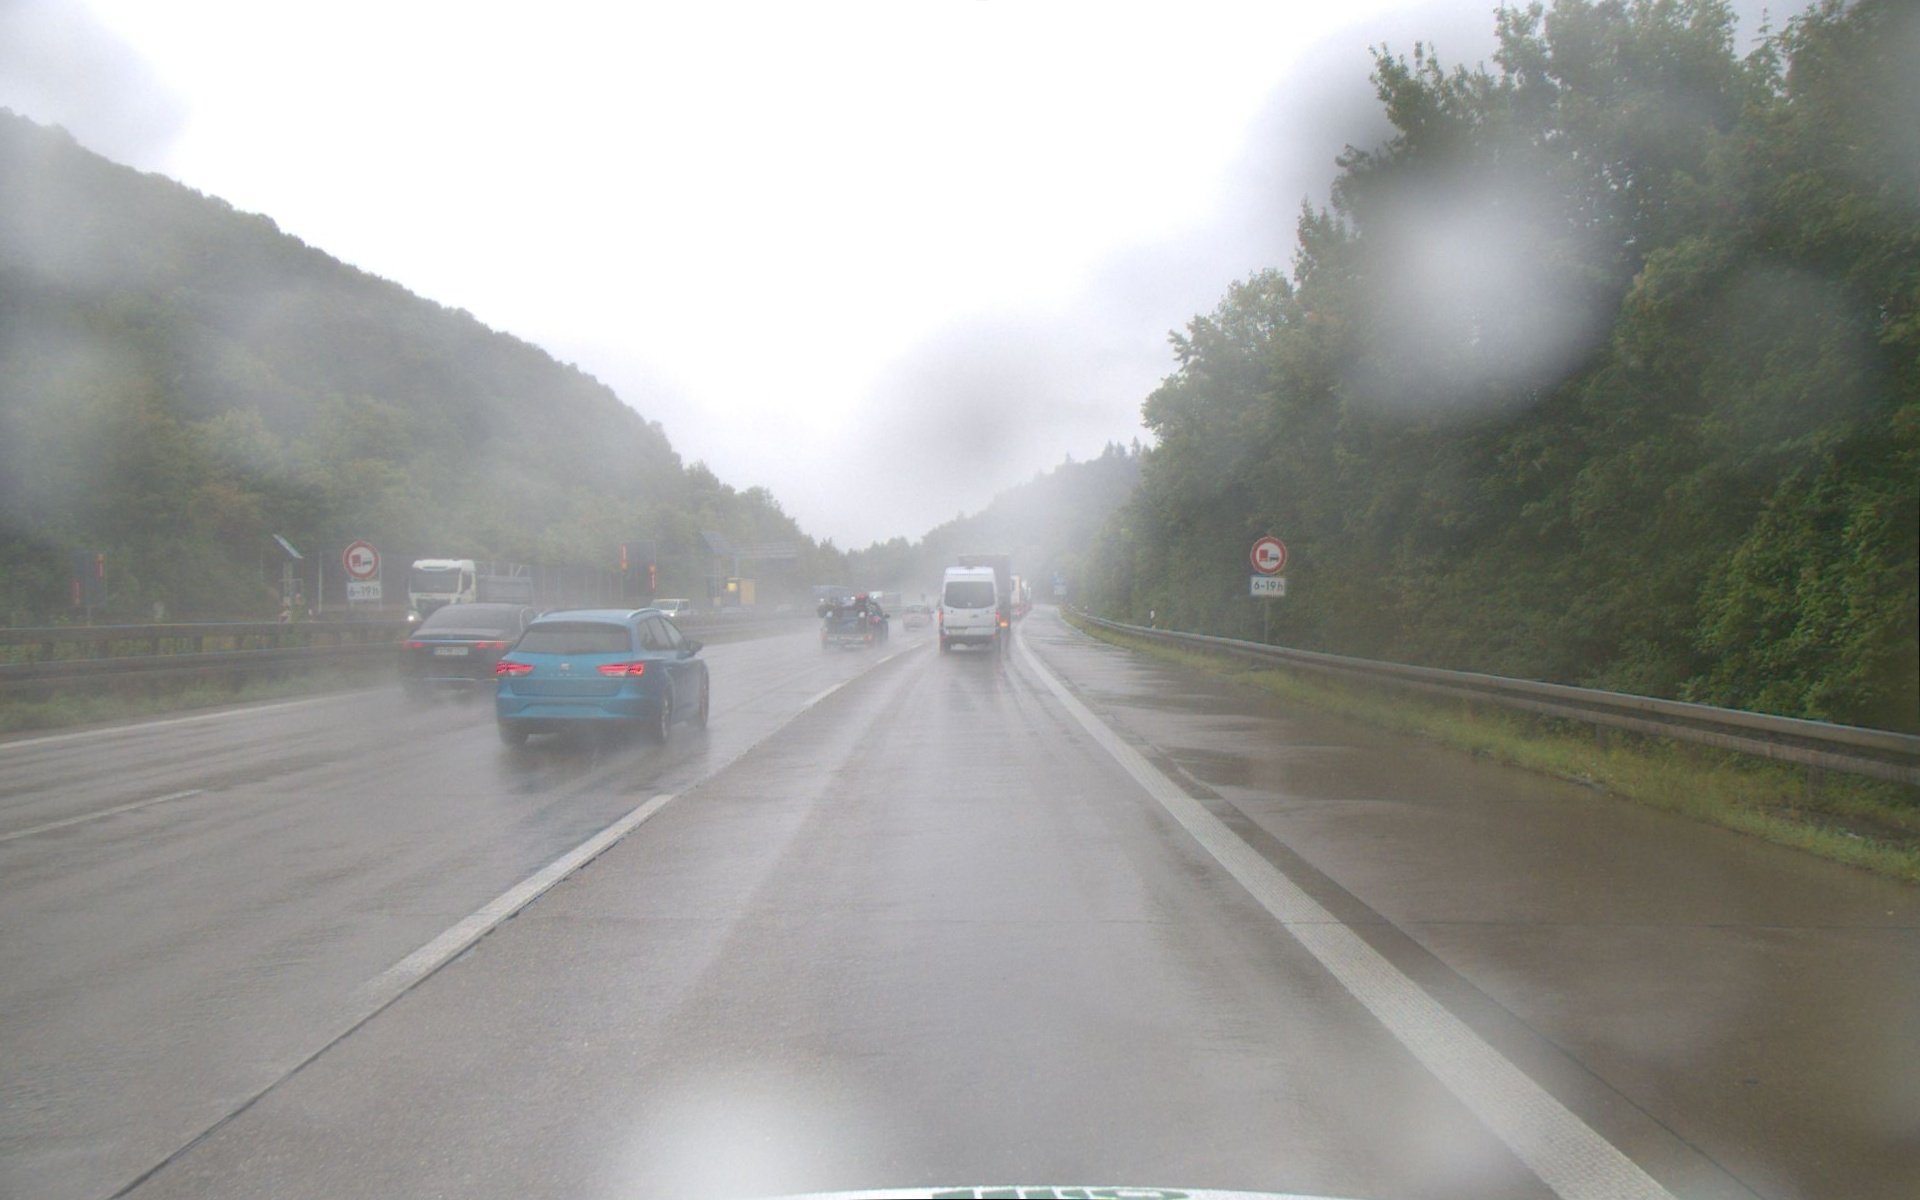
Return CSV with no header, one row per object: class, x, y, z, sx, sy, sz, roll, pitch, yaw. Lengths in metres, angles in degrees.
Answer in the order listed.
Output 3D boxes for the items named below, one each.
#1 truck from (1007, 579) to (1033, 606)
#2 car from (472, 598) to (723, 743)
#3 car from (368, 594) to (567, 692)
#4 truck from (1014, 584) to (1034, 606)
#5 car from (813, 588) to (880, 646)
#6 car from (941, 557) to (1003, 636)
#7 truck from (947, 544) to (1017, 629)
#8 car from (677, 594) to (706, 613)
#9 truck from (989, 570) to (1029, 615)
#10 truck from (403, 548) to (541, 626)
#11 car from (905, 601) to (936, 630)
truck,6.965,-0.813,191.695,2.531,3.033,9.030,1,0,4
car,-3.814,0.681,18.174,1.818,1.362,4.350,1,0,-1
car,-7.523,0.615,25.706,1.818,1.362,4.350,1,0,-1
truck,8.785,-0.686,228.480,2.532,3.033,9.027,1,0,1
car,-3.763,0.557,55.500,1.830,1.841,4.189,1,0,1
car,0.423,-0.102,53.462,1.860,2.374,5.251,1,0,1
truck,1.247,-0.799,86.090,3.315,4.037,8.670,-2,2,2
car,-23.673,0.289,145.936,1.953,1.691,3.999,0,0,0
truck,4.548,-0.616,151.649,3.025,3.978,9.059,1,0,5
truck,-22.830,-0.560,78.182,2.716,3.373,11.518,1,0,2
car,-2.312,0.909,97.555,1.581,1.656,4.189,1,0,1
